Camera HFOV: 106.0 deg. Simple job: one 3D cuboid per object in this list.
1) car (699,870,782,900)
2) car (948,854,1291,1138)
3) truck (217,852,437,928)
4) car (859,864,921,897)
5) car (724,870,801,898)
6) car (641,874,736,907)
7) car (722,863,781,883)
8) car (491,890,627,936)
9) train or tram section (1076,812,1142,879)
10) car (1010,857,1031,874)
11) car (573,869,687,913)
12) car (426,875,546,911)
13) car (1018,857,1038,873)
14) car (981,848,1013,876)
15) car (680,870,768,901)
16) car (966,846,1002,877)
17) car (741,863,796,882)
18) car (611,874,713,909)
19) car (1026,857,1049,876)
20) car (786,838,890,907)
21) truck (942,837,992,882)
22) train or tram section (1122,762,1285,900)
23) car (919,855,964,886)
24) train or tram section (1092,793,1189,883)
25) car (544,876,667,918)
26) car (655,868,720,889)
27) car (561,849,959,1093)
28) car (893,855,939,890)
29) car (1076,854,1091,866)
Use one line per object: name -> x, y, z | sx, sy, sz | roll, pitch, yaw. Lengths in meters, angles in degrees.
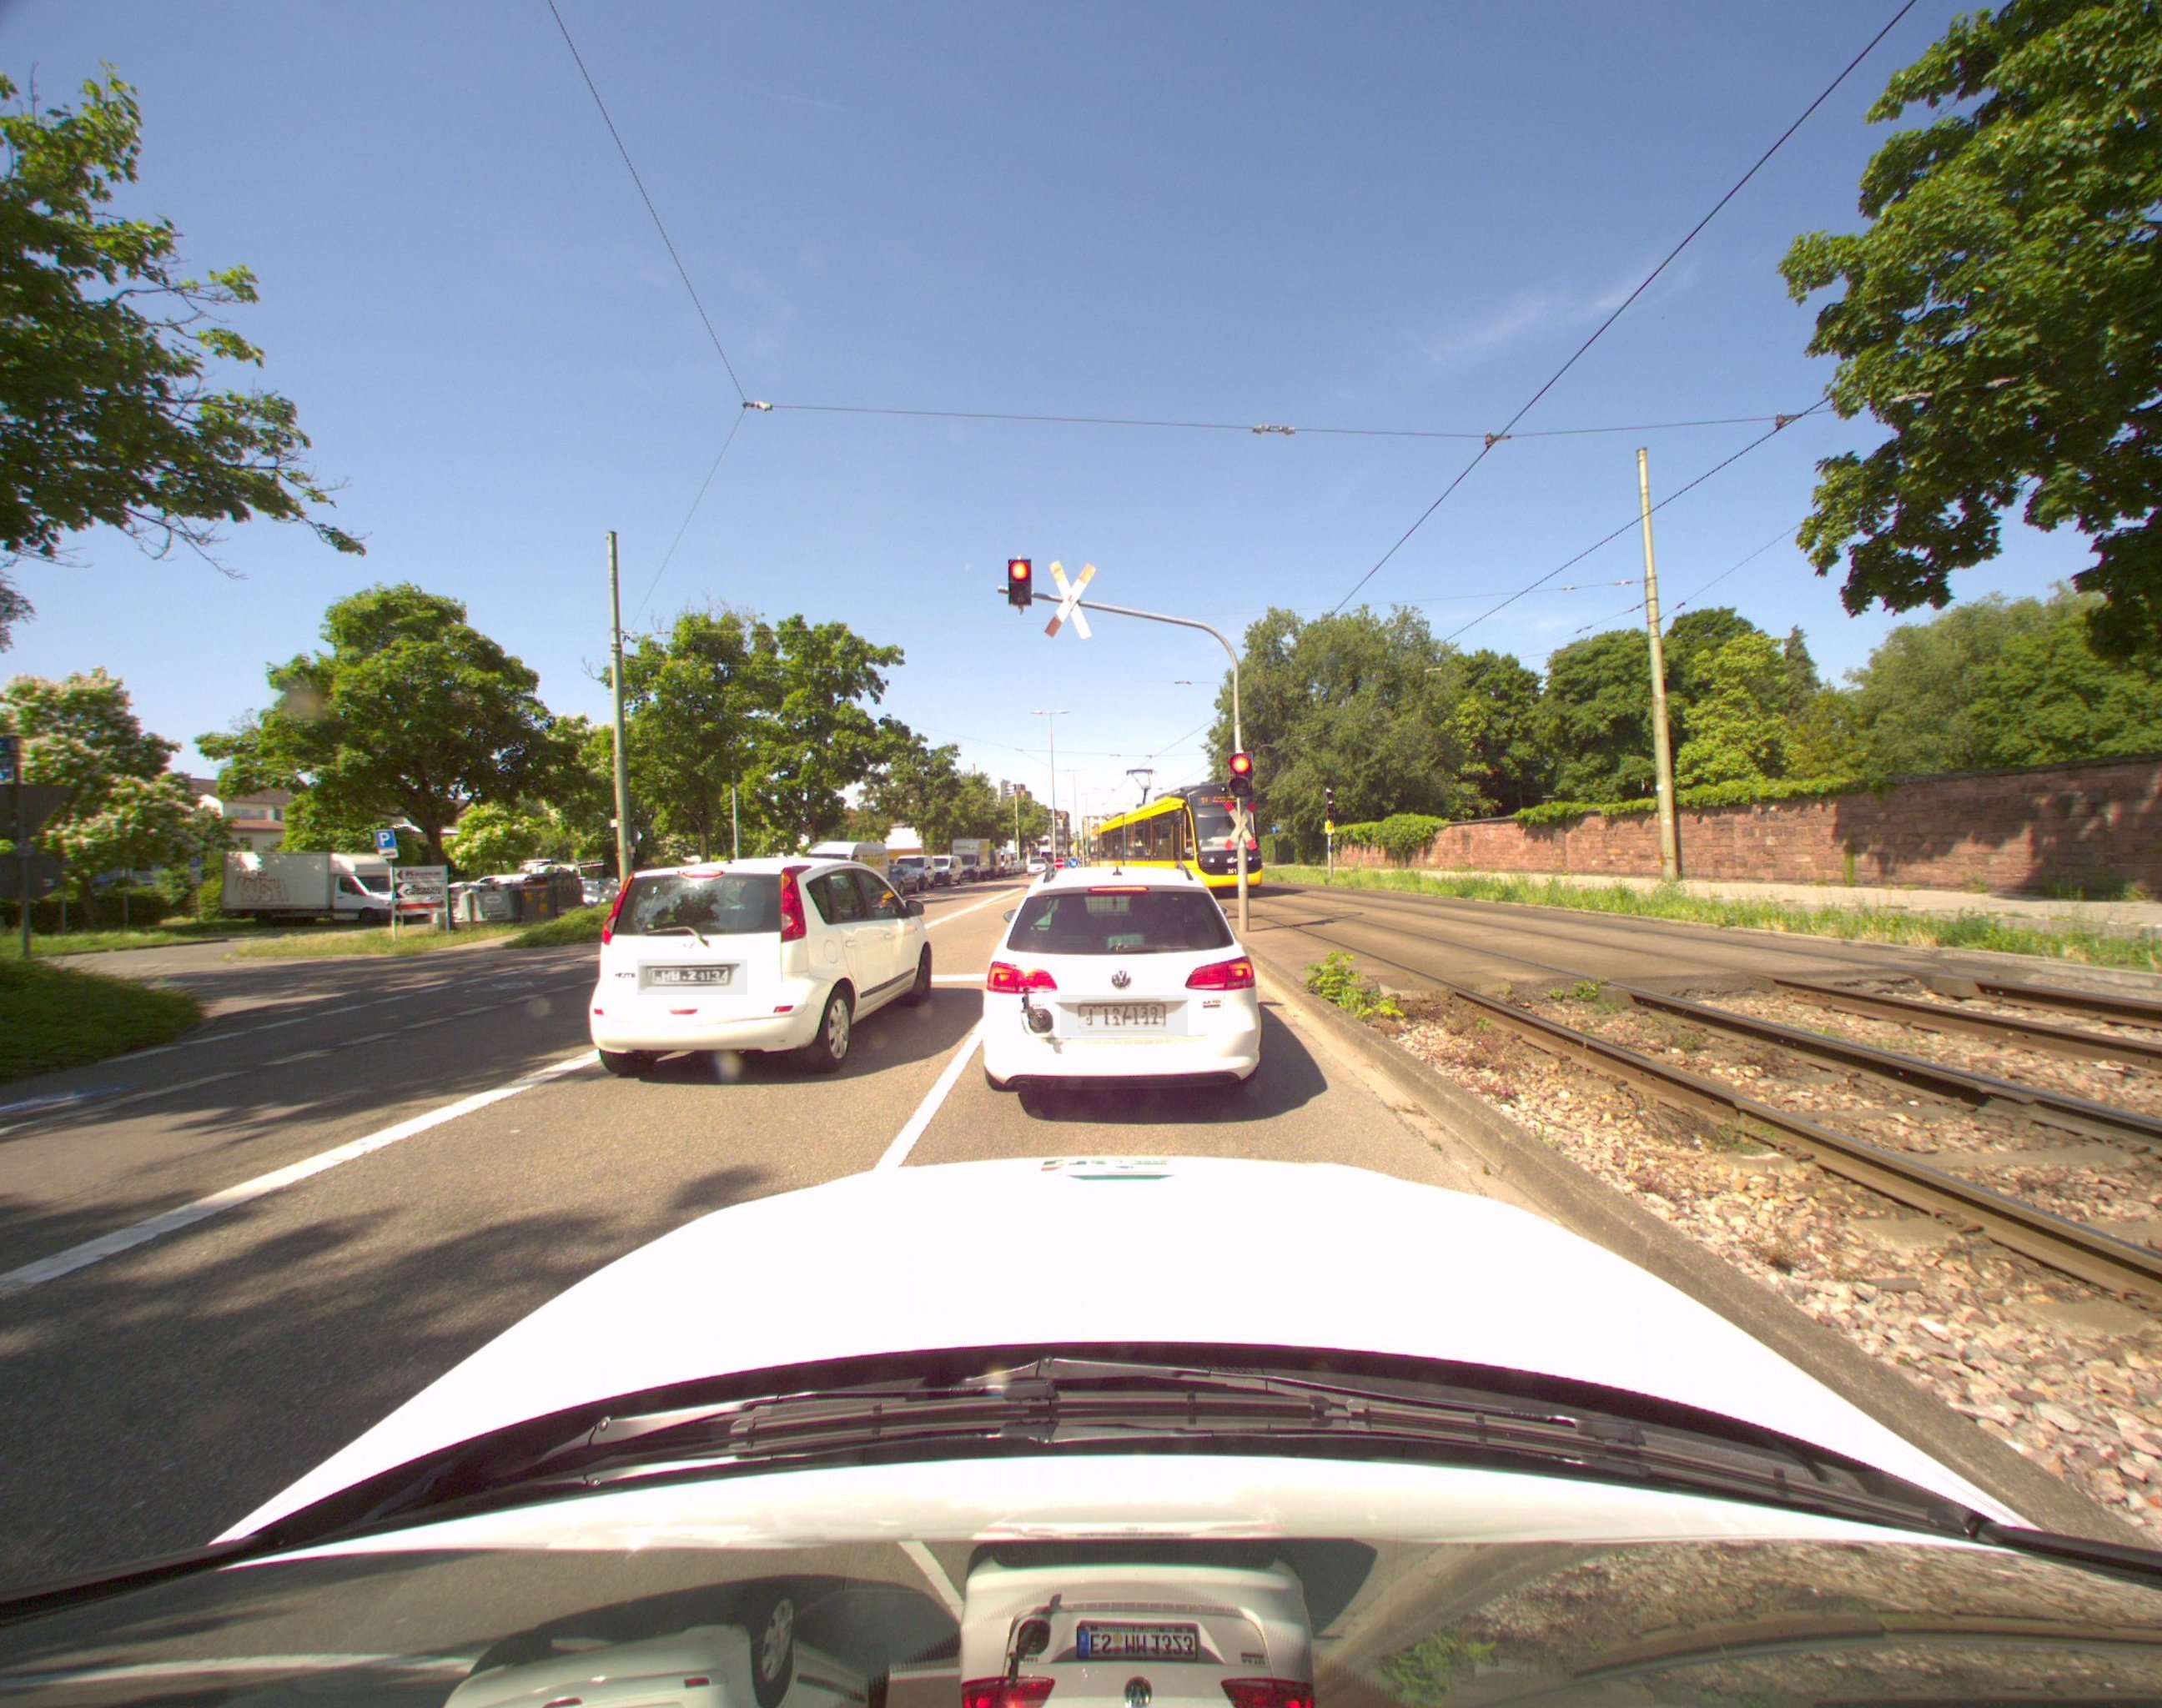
car -> -19.609, 1.764, 47.070 | 3.977, 1.415, 1.729 | -4, -1, -3
car -> 0.267, 0.754, 6.317 | 1.756, 1.430, 4.002 | -3, 0, 2
truck -> -32.424, 1.496, 35.212 | 6.979, 3.110, 2.677 | 0, 0, 0
car -> -9.066, 1.220, 39.037 | 1.856, 1.415, 4.281 | 0, 0, 1
car -> -19.462, 1.818, 49.886 | 3.977, 1.415, 1.729 | -4, -1, -3
car -> -20.288, 1.865, 42.220 | 3.977, 1.415, 1.729 | -4, -1, -3
car -> -31.471, 1.815, 77.869 | 4.780, 1.787, 2.062 | 0, -1, -3
car -> -19.898, 2.231, 31.173 | 3.977, 1.415, 1.729 | -4, -1, -3
train or tram section -> 1.655, -0.503, 53.297 | 2.866, 3.855, 10.518 | -3, 0, -5
car -> -6.777, 1.268, 92.033 | 1.856, 1.868, 5.415 | 0, 0, 1
car -> -19.916, 1.625, 36.073 | 3.977, 1.610, 1.729 | -4, -1, -3
car -> -31.770, 2.044, 43.579 | 4.780, 1.787, 2.062 | 0, -1, -3
car -> -6.395, 1.354, 98.945 | 1.856, 1.868, 5.415 | 0, 0, 1
car -> -7.773, 0.675, 76.126 | 2.114, 2.516, 5.737 | 0, 0, 2
car -> -19.539, 1.719, 44.736 | 3.977, 1.415, 1.729 | -4, -1, -3
car -> -8.149, 0.615, 68.694 | 2.114, 2.516, 5.737 | 0, 0, 2
car -> -31.776, 1.857, 82.783 | 4.780, 1.787, 2.062 | 0, -1, -3
car -> -20.316, 1.803, 39.608 | 3.977, 1.415, 1.729 | -4, -1, -3
car -> -3.884, 1.091, 73.178 | 1.670, 1.553, 3.580 | -4, 0, 1
car -> -9.580, 0.684, 32.680 | 2.114, 2.516, 5.822 | 0, 0, 3
truck -> -8.407, 0.410, 60.696 | 2.411, 3.150, 7.001 | 0, 0, 2
train or tram section -> 3.850, -0.661, 29.566 | 2.866, 3.855, 12.368 | -3, 0, -5
car -> -8.870, 1.009, 52.275 | 1.856, 1.868, 5.415 | 0, 0, 1
train or tram section -> 2.701, -0.678, 41.902 | 2.866, 3.855, 12.368 | -3, 0, -5
car -> -19.665, 1.765, 33.796 | 3.977, 1.415, 1.729 | -4, -1, -3
car -> -35.200, 2.192, 72.977 | 4.780, 1.787, 2.062 | 0, -1, -3
car -> -2.423, 0.757, 7.539 | 1.655, 1.547, 4.550 | -1, 0, 3
car -> -9.194, 0.989, 45.694 | 1.859, 1.868, 5.068 | 0, 0, -4
car -> 0.378, 0.830, 112.584 | 1.698, 1.473, 4.593 | -3, 0, 3
